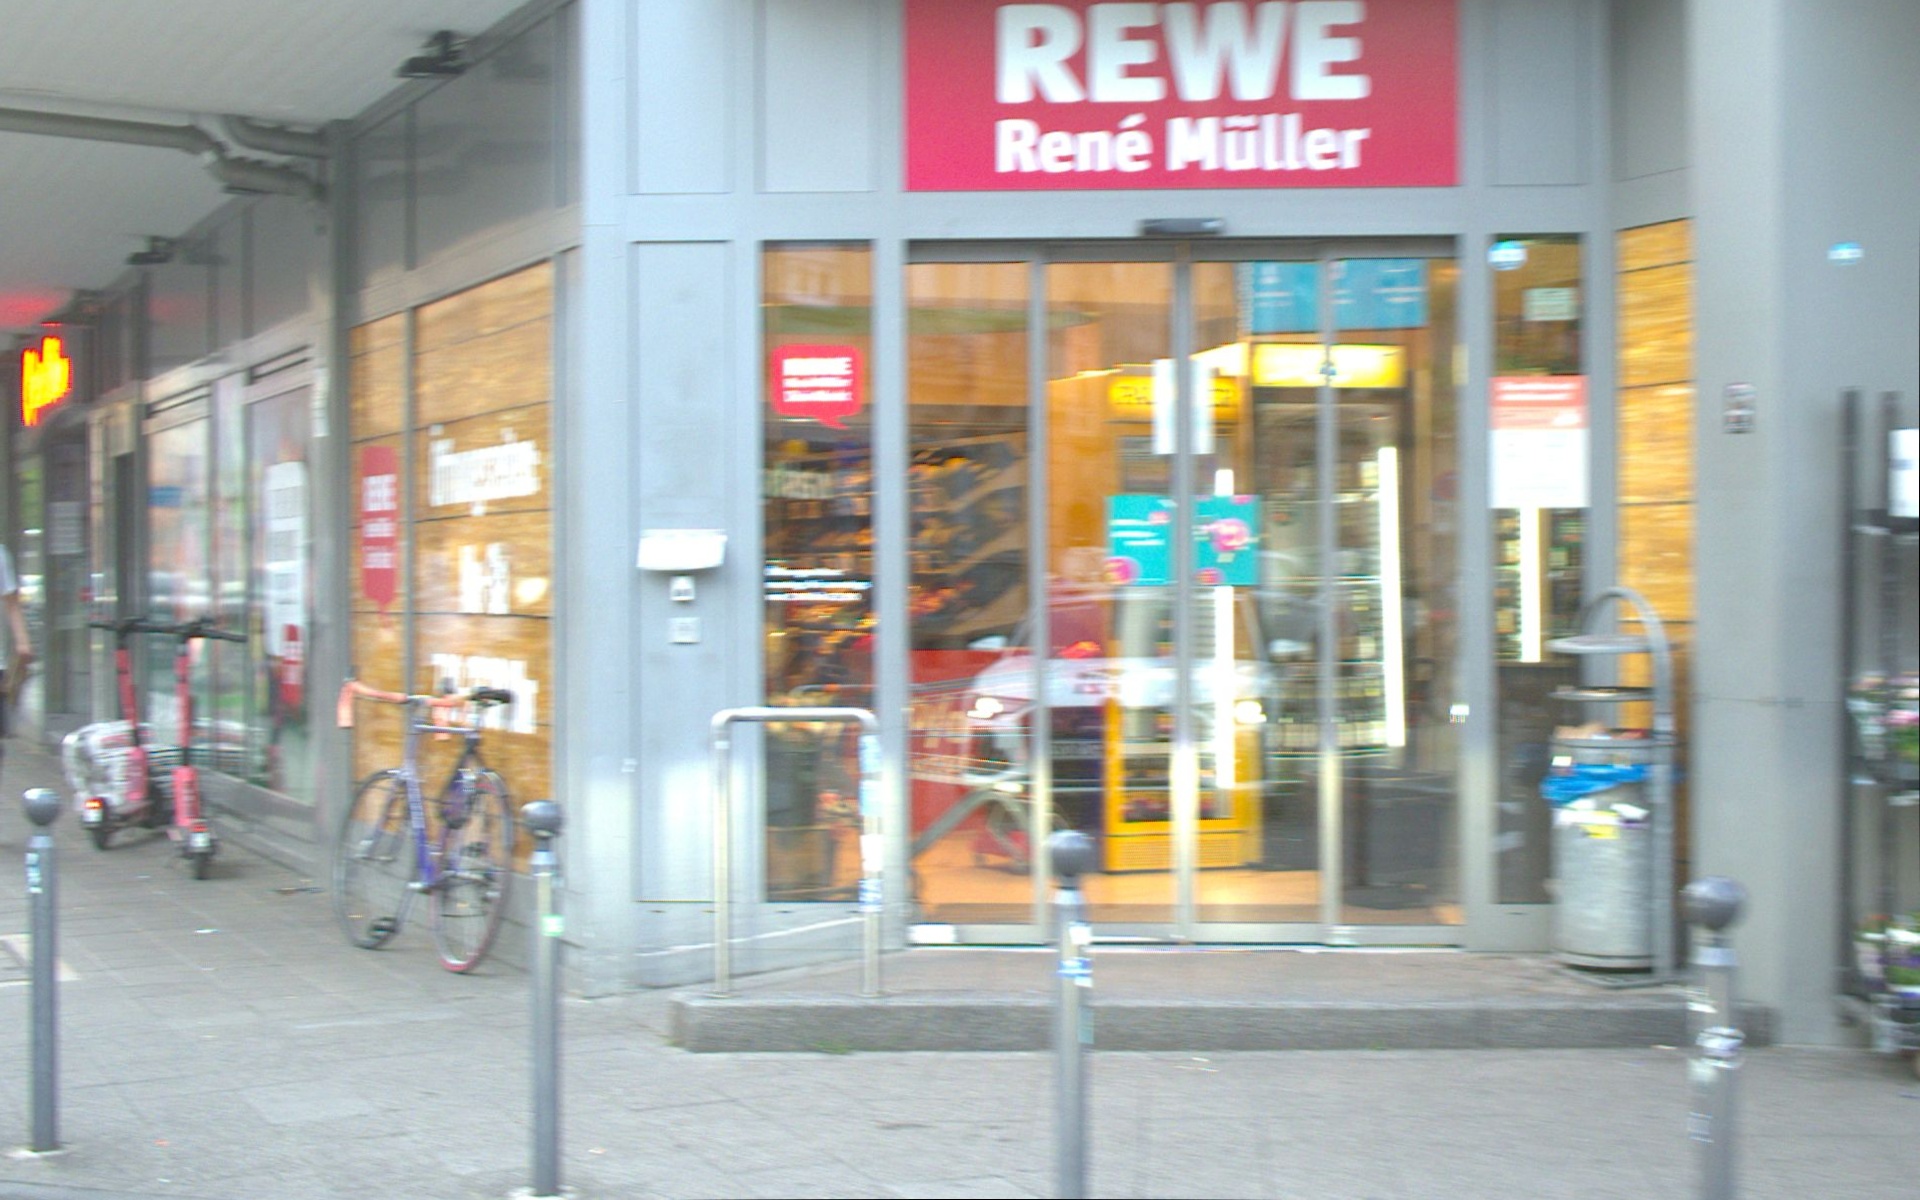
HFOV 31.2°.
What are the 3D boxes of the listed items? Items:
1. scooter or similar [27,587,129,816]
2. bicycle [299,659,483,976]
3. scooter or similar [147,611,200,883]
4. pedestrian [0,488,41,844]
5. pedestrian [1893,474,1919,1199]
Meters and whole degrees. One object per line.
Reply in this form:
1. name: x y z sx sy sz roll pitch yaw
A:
1. scooter or similar: -5.184 0.576 20.166 0.439 1.286 1.668 1 -1 -18
2. bicycle: -2.110 0.781 12.693 0.289 1.109 0.966 1 -1 -33
3. scooter or similar: -3.779 0.689 16.496 0.219 1.233 0.966 1 1 -13
4. pedestrian: -5.397 0.348 18.603 0.719 1.900 0.703 1 -1 -20
5. pedestrian: 2.227 0.600 6.387 0.717 1.646 0.712 1 -1 38
